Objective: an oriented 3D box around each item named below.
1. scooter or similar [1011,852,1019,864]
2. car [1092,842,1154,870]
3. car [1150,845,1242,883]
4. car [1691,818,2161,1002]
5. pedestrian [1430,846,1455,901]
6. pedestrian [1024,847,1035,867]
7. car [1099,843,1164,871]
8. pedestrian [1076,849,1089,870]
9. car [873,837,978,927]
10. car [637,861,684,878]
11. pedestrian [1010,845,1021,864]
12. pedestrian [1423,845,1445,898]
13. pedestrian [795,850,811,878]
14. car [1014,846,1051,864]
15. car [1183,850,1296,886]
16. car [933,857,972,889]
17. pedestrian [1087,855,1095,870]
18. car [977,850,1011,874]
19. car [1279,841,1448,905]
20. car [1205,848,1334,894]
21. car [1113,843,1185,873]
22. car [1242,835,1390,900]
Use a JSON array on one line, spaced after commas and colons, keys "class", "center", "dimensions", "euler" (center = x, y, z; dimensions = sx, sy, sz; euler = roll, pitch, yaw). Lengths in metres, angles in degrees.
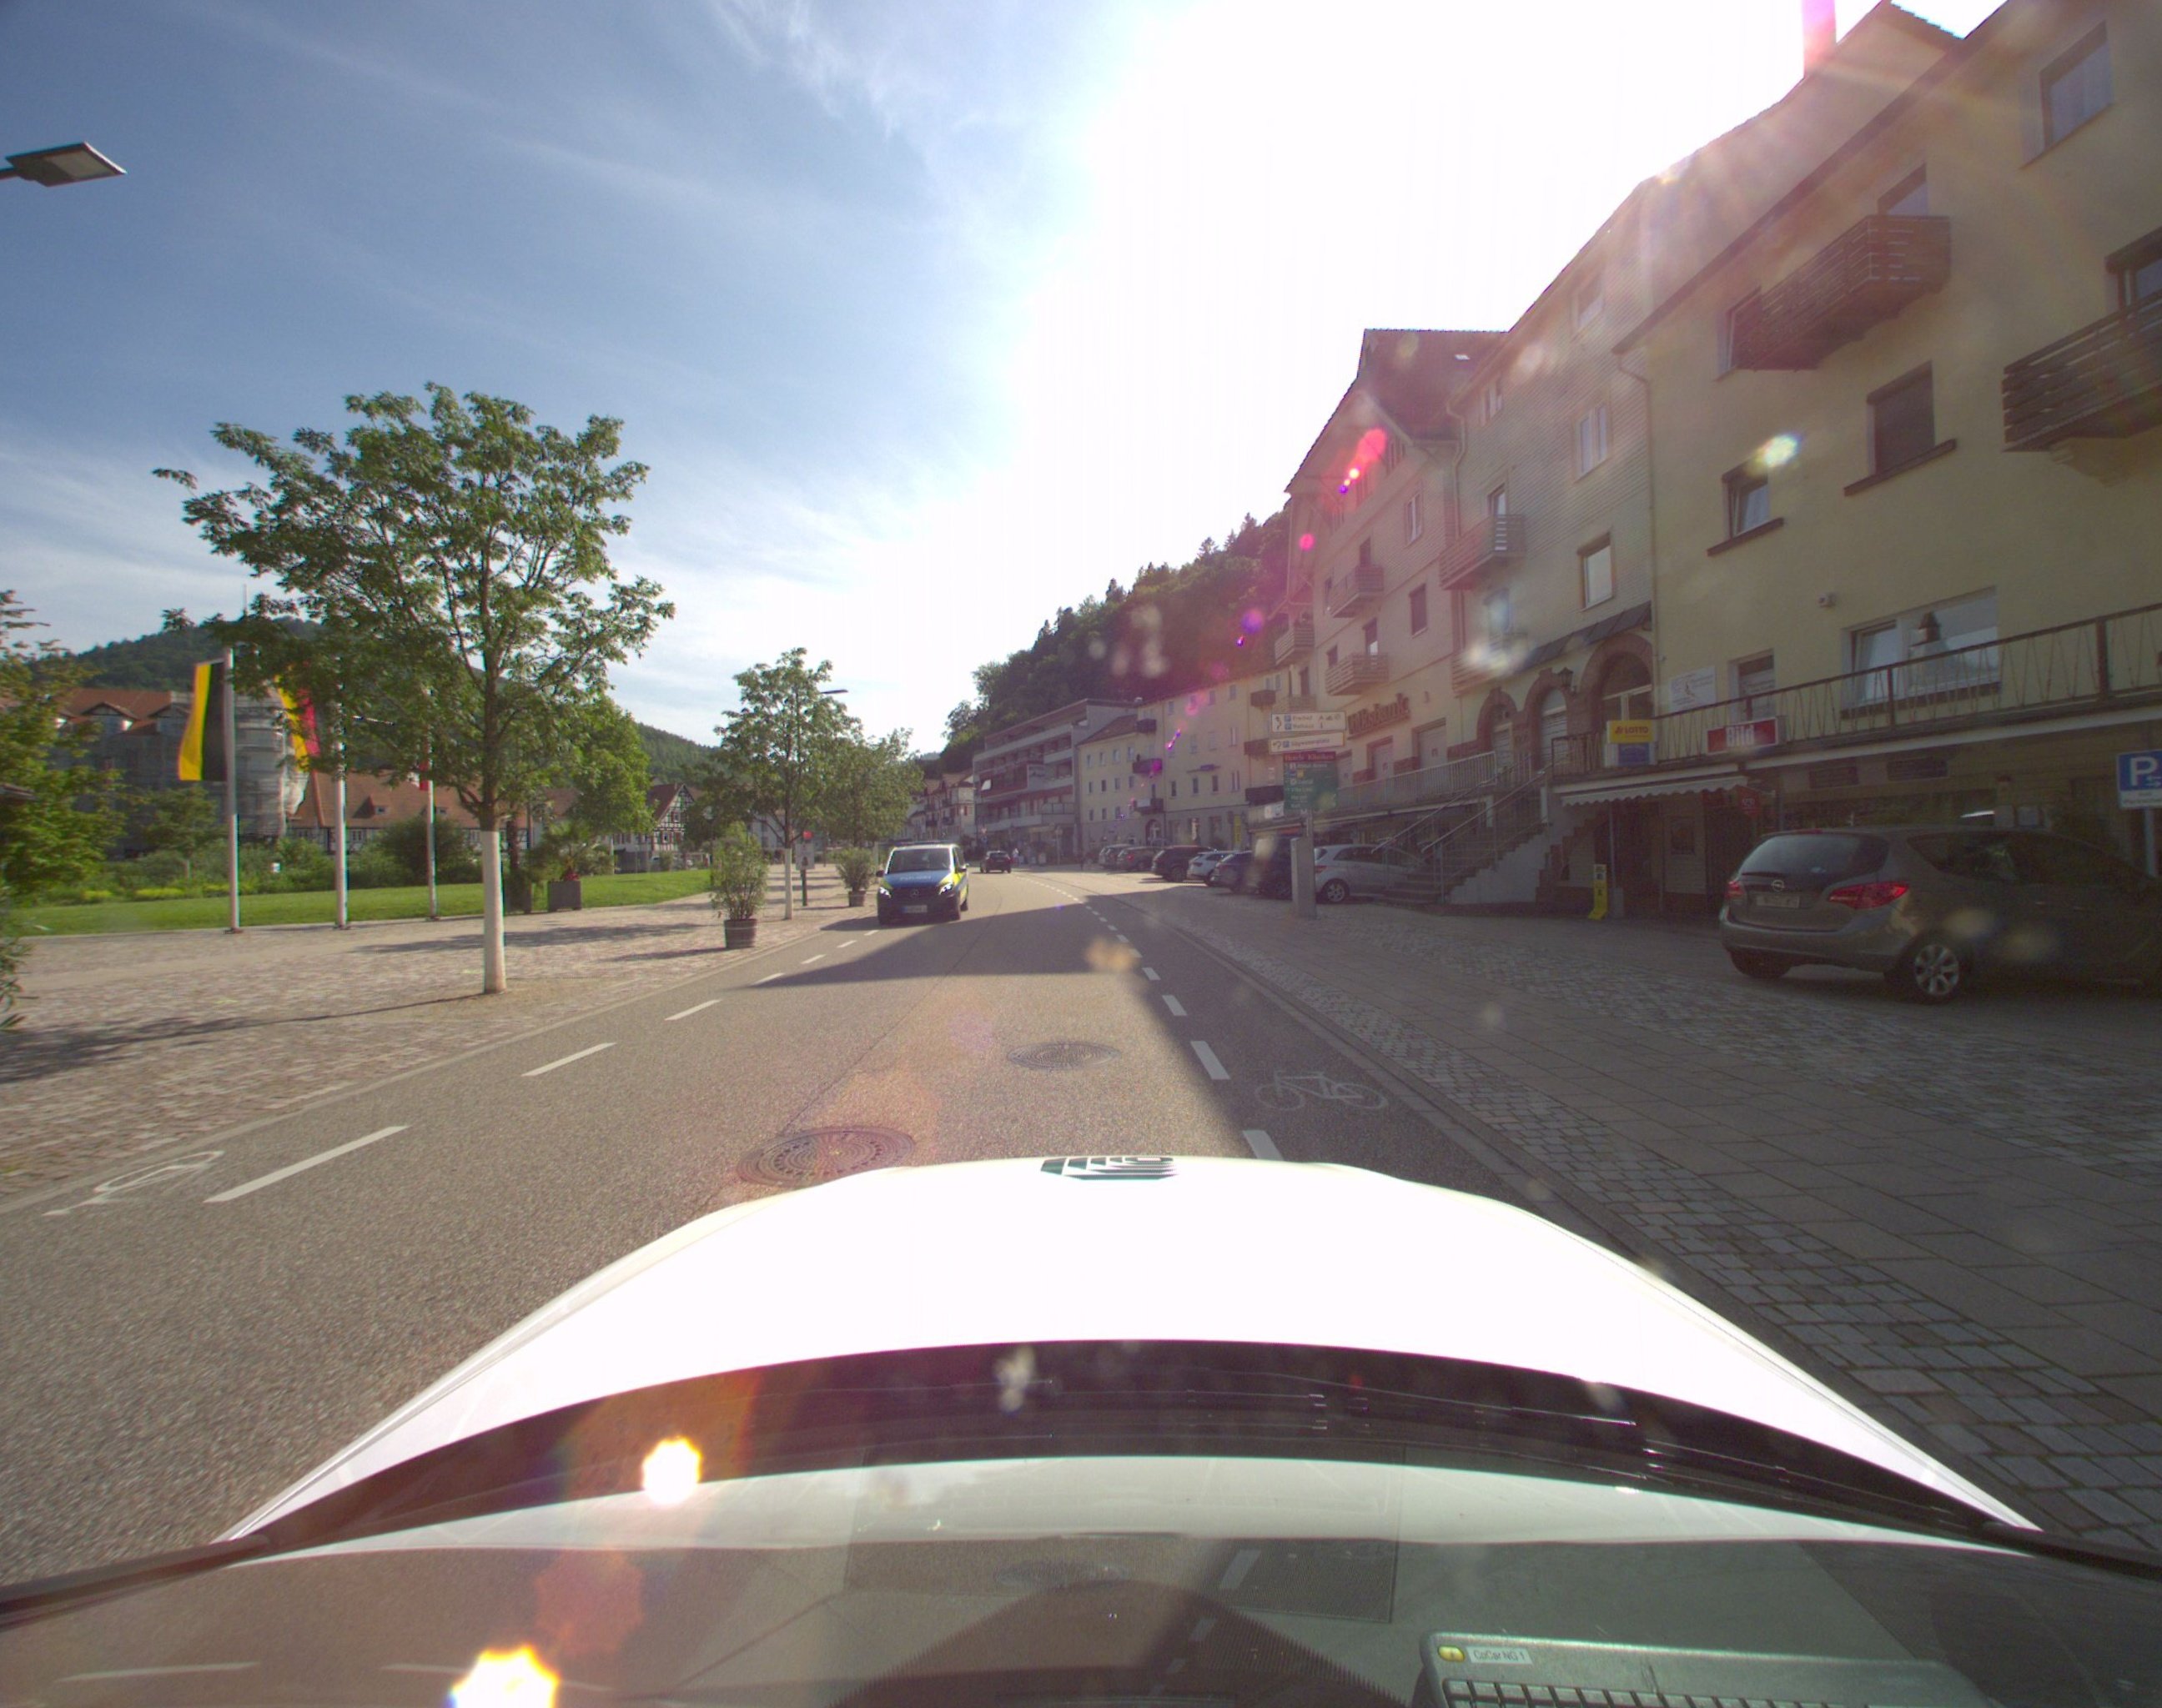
[{"class": "scooter or similar", "center": [-5.675, 0.341, 70.179], "dimensions": [0.599, 0.950, 0.470], "euler": [-1, 0, -25]}, {"class": "car", "center": [2.914, 0.124, 56.664], "dimensions": [3.878, 1.612, 1.759], "euler": [-4, 2, -23]}, {"class": "car", "center": [5.413, 0.487, 38.733], "dimensions": [4.073, 1.666, 1.771], "euler": [1, 0, -2]}, {"class": "car", "center": [8.475, 0.503, 7.960], "dimensions": [3.853, 1.554, 1.757], "euler": [1, 0, -5]}, {"class": "pedestrian", "center": [11.058, 0.592, 24.925], "dimensions": [0.457, 1.658, 0.432], "euler": [-3, 0, -20]}, {"class": "pedestrian", "center": [-4.430, 0.246, 69.934], "dimensions": [0.672, 1.728, 0.702], "euler": [-1, 0, -25]}, {"class": "car", "center": [3.367, 0.180, 53.952], "dimensions": [3.878, 1.549, 1.759], "euler": [-4, 2, -23]}, {"class": "pedestrian", "center": [0.090, 0.398, 57.306], "dimensions": [0.734, 1.442, 0.631], "euler": [-3, 0, -8]}, {"class": "car", "center": [-3.857, 0.646, 21.041], "dimensions": [1.850, 1.953, 5.013], "euler": [-3, 0, -2]}, {"class": "car", "center": [-43.440, 1.557, 84.156], "dimensions": [4.197, 1.616, 1.673], "euler": [-1, 0, -32]}, {"class": "pedestrian", "center": [-5.604, 0.033, 70.011], "dimensions": [0.761, 1.594, 0.623], "euler": [-1, 0, -25]}, {"class": "pedestrian", "center": [11.118, 0.545, 25.659], "dimensions": [0.409, 1.658, 0.435], "euler": [-3, 0, 5]}, {"class": "pedestrian", "center": [-18.254, 0.657, 53.469], "dimensions": [0.871, 1.815, 0.686], "euler": [-1, 0, -24]}, {"class": "car", "center": [-4.551, 0.067, 76.737], "dimensions": [3.177, 1.663, 1.582], "euler": [-1, 0, -23]}, {"class": "car", "center": [6.500, 0.585, 33.743], "dimensions": [4.342, 1.461, 1.772], "euler": [0, -2, 0]}, {"class": "car", "center": [-6.106, 0.861, 39.057], "dimensions": [1.626, 1.370, 4.053], "euler": [-3, 0, -7]}, {"class": "pedestrian", "center": [0.706, 0.589, 57.236], "dimensions": [0.415, 1.002, 0.532], "euler": [-3, 0, 7]}, {"class": "car", "center": [-6.237, 0.551, 58.388], "dimensions": [1.731, 1.574, 3.731], "euler": [-1, 1, -17]}, {"class": "car", "center": [7.452, 0.498, 21.747], "dimensions": [3.900, 1.589, 1.773], "euler": [1, 0, -2]}, {"class": "car", "center": [6.258, 0.562, 27.242], "dimensions": [3.899, 1.461, 1.735], "euler": [1, 0, -2]}, {"class": "car", "center": [4.230, 0.216, 50.531], "dimensions": [4.027, 1.516, 1.759], "euler": [-4, 2, -23]}, {"class": "car", "center": [6.992, 0.415, 24.515], "dimensions": [3.899, 1.804, 1.856], "euler": [1, -1, -2]}]
